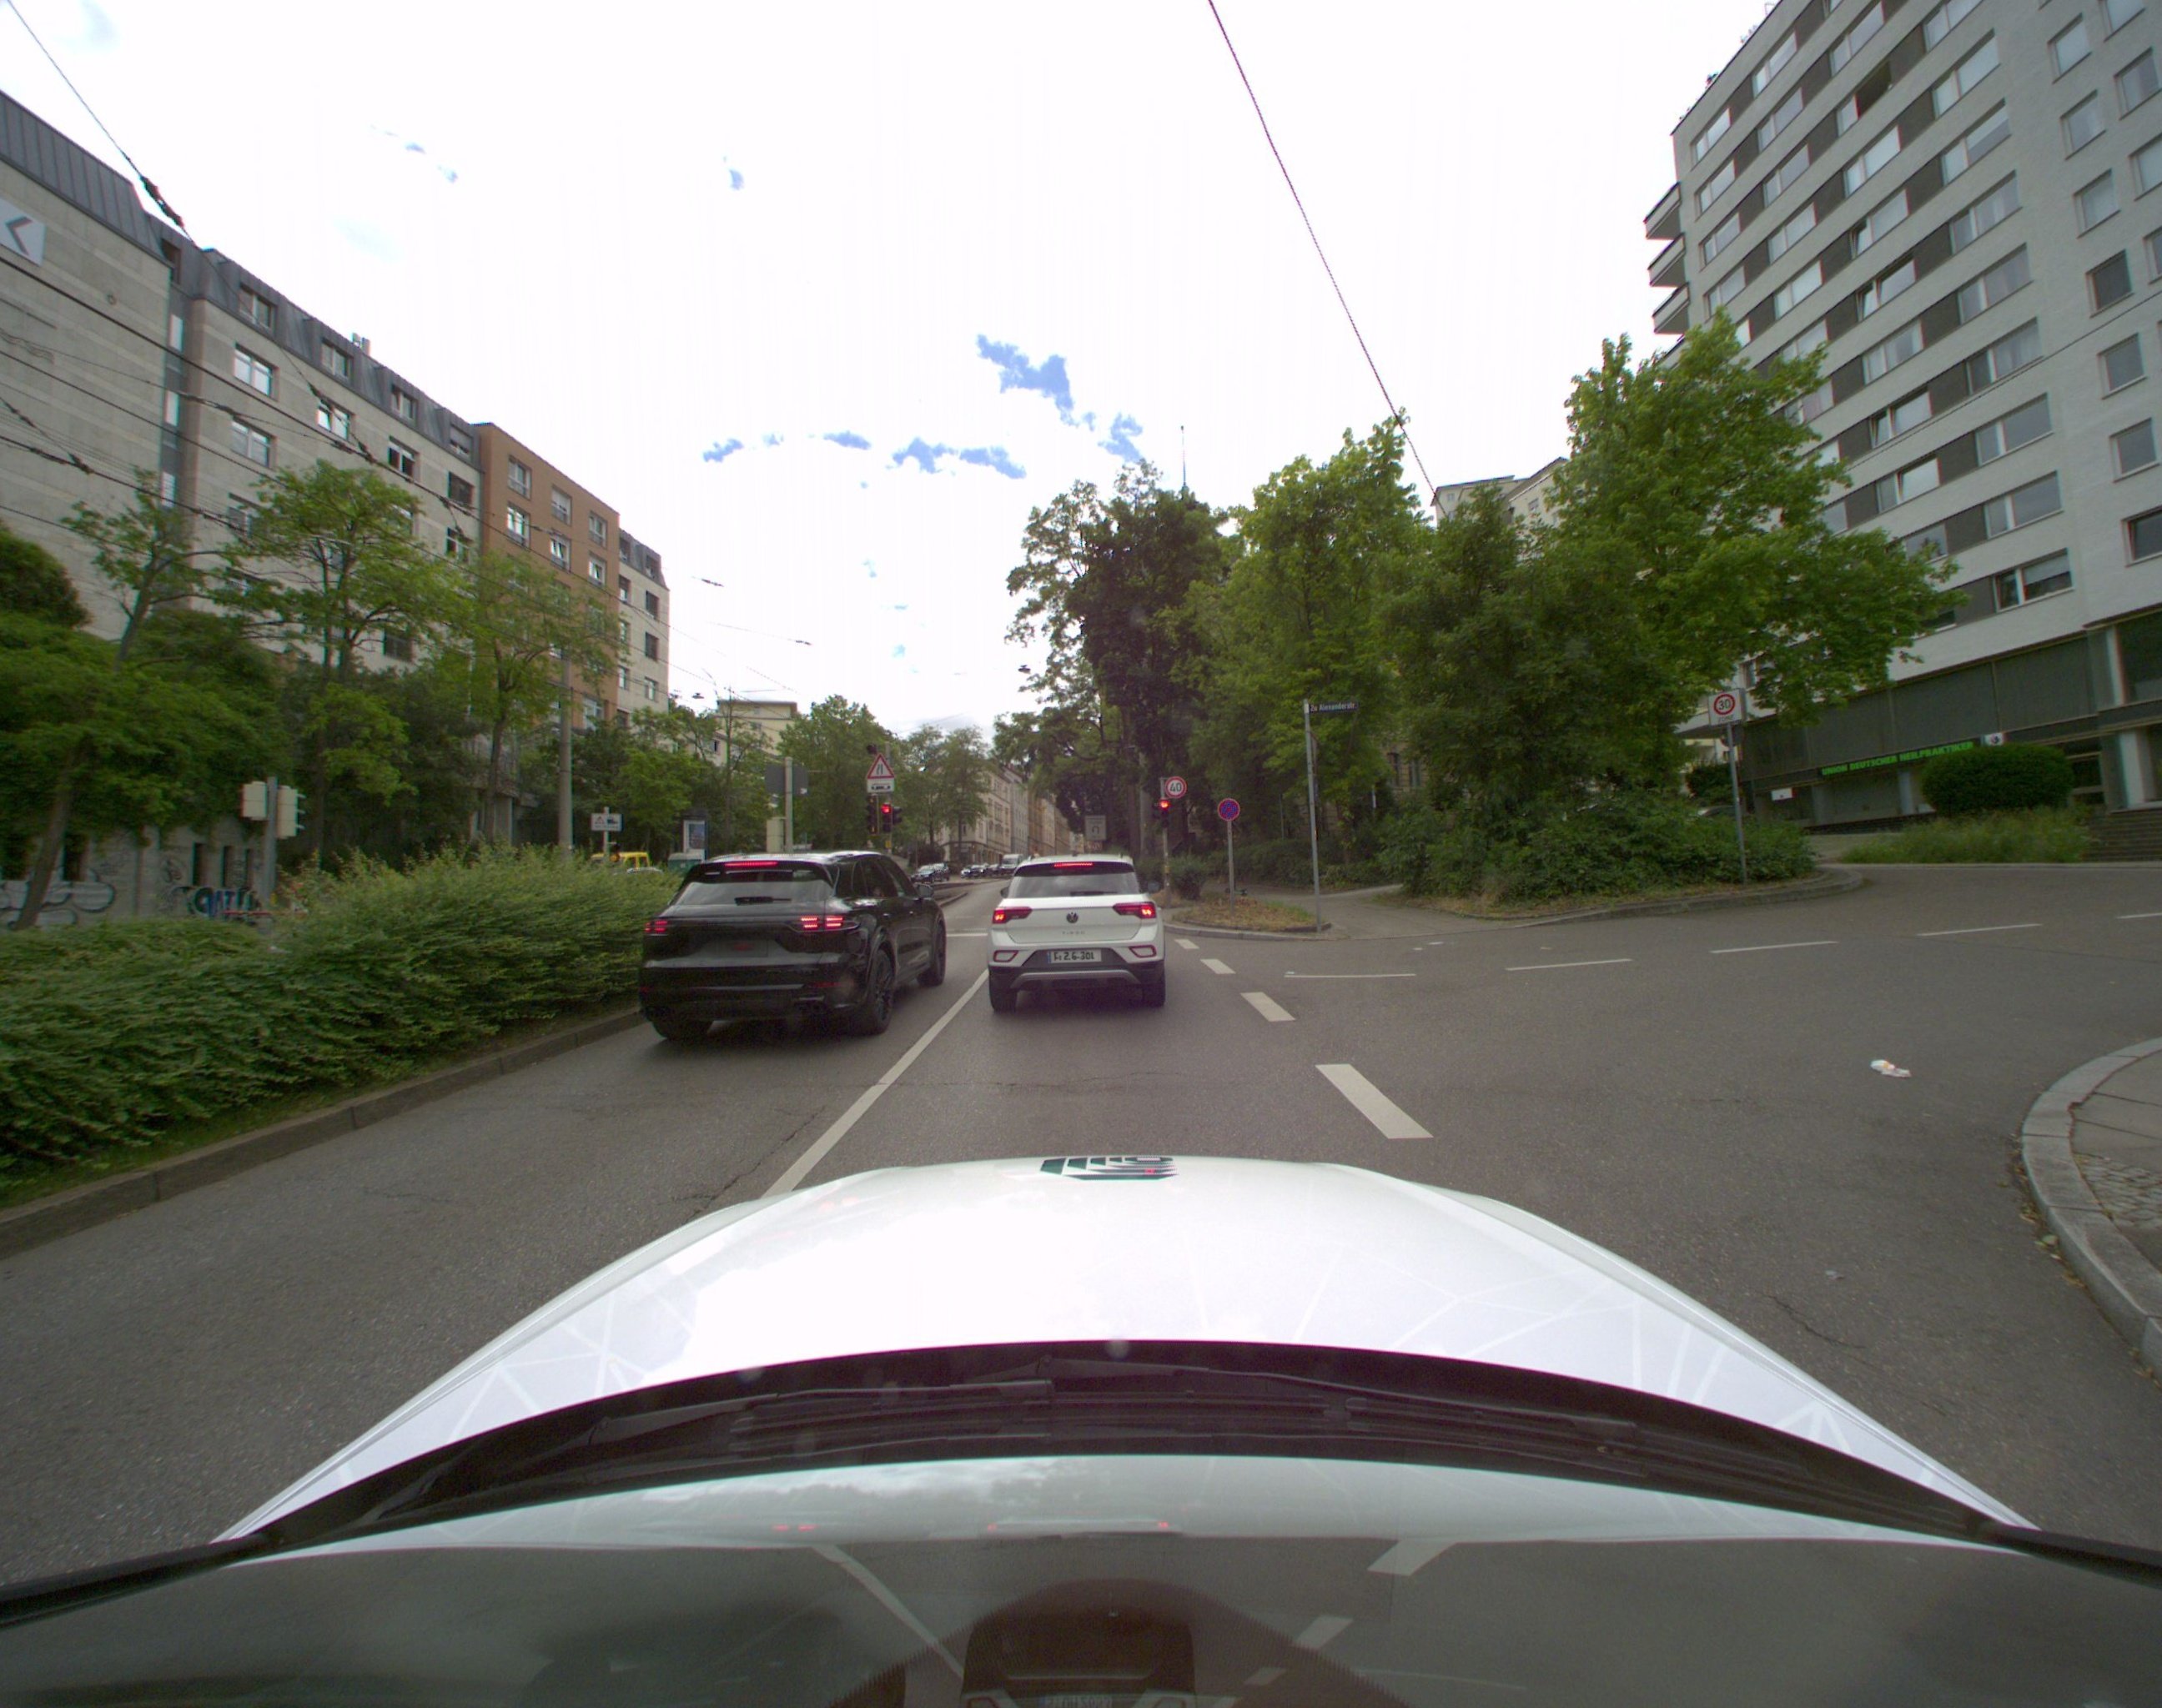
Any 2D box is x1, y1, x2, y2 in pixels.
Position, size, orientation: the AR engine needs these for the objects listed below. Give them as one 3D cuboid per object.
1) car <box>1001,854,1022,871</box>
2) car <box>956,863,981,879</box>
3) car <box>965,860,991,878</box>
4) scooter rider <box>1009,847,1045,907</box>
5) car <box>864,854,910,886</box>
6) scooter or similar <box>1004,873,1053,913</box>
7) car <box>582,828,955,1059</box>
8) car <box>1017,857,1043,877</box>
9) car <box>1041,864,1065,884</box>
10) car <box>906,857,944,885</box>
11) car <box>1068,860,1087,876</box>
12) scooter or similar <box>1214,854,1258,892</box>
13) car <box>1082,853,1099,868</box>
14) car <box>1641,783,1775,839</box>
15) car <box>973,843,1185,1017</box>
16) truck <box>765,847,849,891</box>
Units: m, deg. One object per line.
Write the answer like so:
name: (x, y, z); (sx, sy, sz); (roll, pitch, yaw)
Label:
car: (-8.402, 1.024, 98.266); (1.986, 2.013, 4.001); (-3, -1, 2)
car: (-12.197, 1.852, 88.685); (1.986, 1.623, 4.000); (1, -3, 2)
car: (-10.299, 1.547, 81.771); (1.986, 1.623, 4.000); (1, -3, 2)
scooter rider: (-1.444, 0.623, 21.827); (0.772, 1.558, 0.534); (-3, -1, 11)
car: (-13.109, 1.127, 55.192); (1.986, 2.014, 4.000); (1, -3, 2)
scooter or similar: (-1.401, 1.037, 21.821); (1.179, 0.994, 0.533); (-3, -1, 11)
car: (-2.729, 0.755, 8.539); (2.021, 1.685, 4.780); (-1, -2, 0)
car: (-4.531, 1.177, 73.179); (1.831, 1.740, 4.004); (0, -1, 4)
car: (-2.337, 1.725, 68.243); (1.897, 1.574, 3.832); (1, -3, -1)
car: (-12.012, 1.324, 62.935); (1.986, 2.014, 4.000); (1, -3, 2)
car: (-0.352, 1.573, 88.770); (1.986, 1.623, 4.000); (1, -3, 2)
scooter or similar: (4.691, 0.586, 24.685); (0.477, 1.100, 1.355); (-2, -1, -30)
car: (1.516, 0.957, 125.589); (2.412, 2.169, 6.036); (-2, -1, 2)
car: (25.904, -1.759, 33.745); (4.124, 2.014, 1.996); (-2, -1, -6)
car: (-0.114, 0.730, 9.509); (1.934, 1.567, 4.041); (-1, -1, -3)
truck: (-14.586, 0.796, 43.806); (2.414, 2.169, 6.032); (1, -1, 0)
